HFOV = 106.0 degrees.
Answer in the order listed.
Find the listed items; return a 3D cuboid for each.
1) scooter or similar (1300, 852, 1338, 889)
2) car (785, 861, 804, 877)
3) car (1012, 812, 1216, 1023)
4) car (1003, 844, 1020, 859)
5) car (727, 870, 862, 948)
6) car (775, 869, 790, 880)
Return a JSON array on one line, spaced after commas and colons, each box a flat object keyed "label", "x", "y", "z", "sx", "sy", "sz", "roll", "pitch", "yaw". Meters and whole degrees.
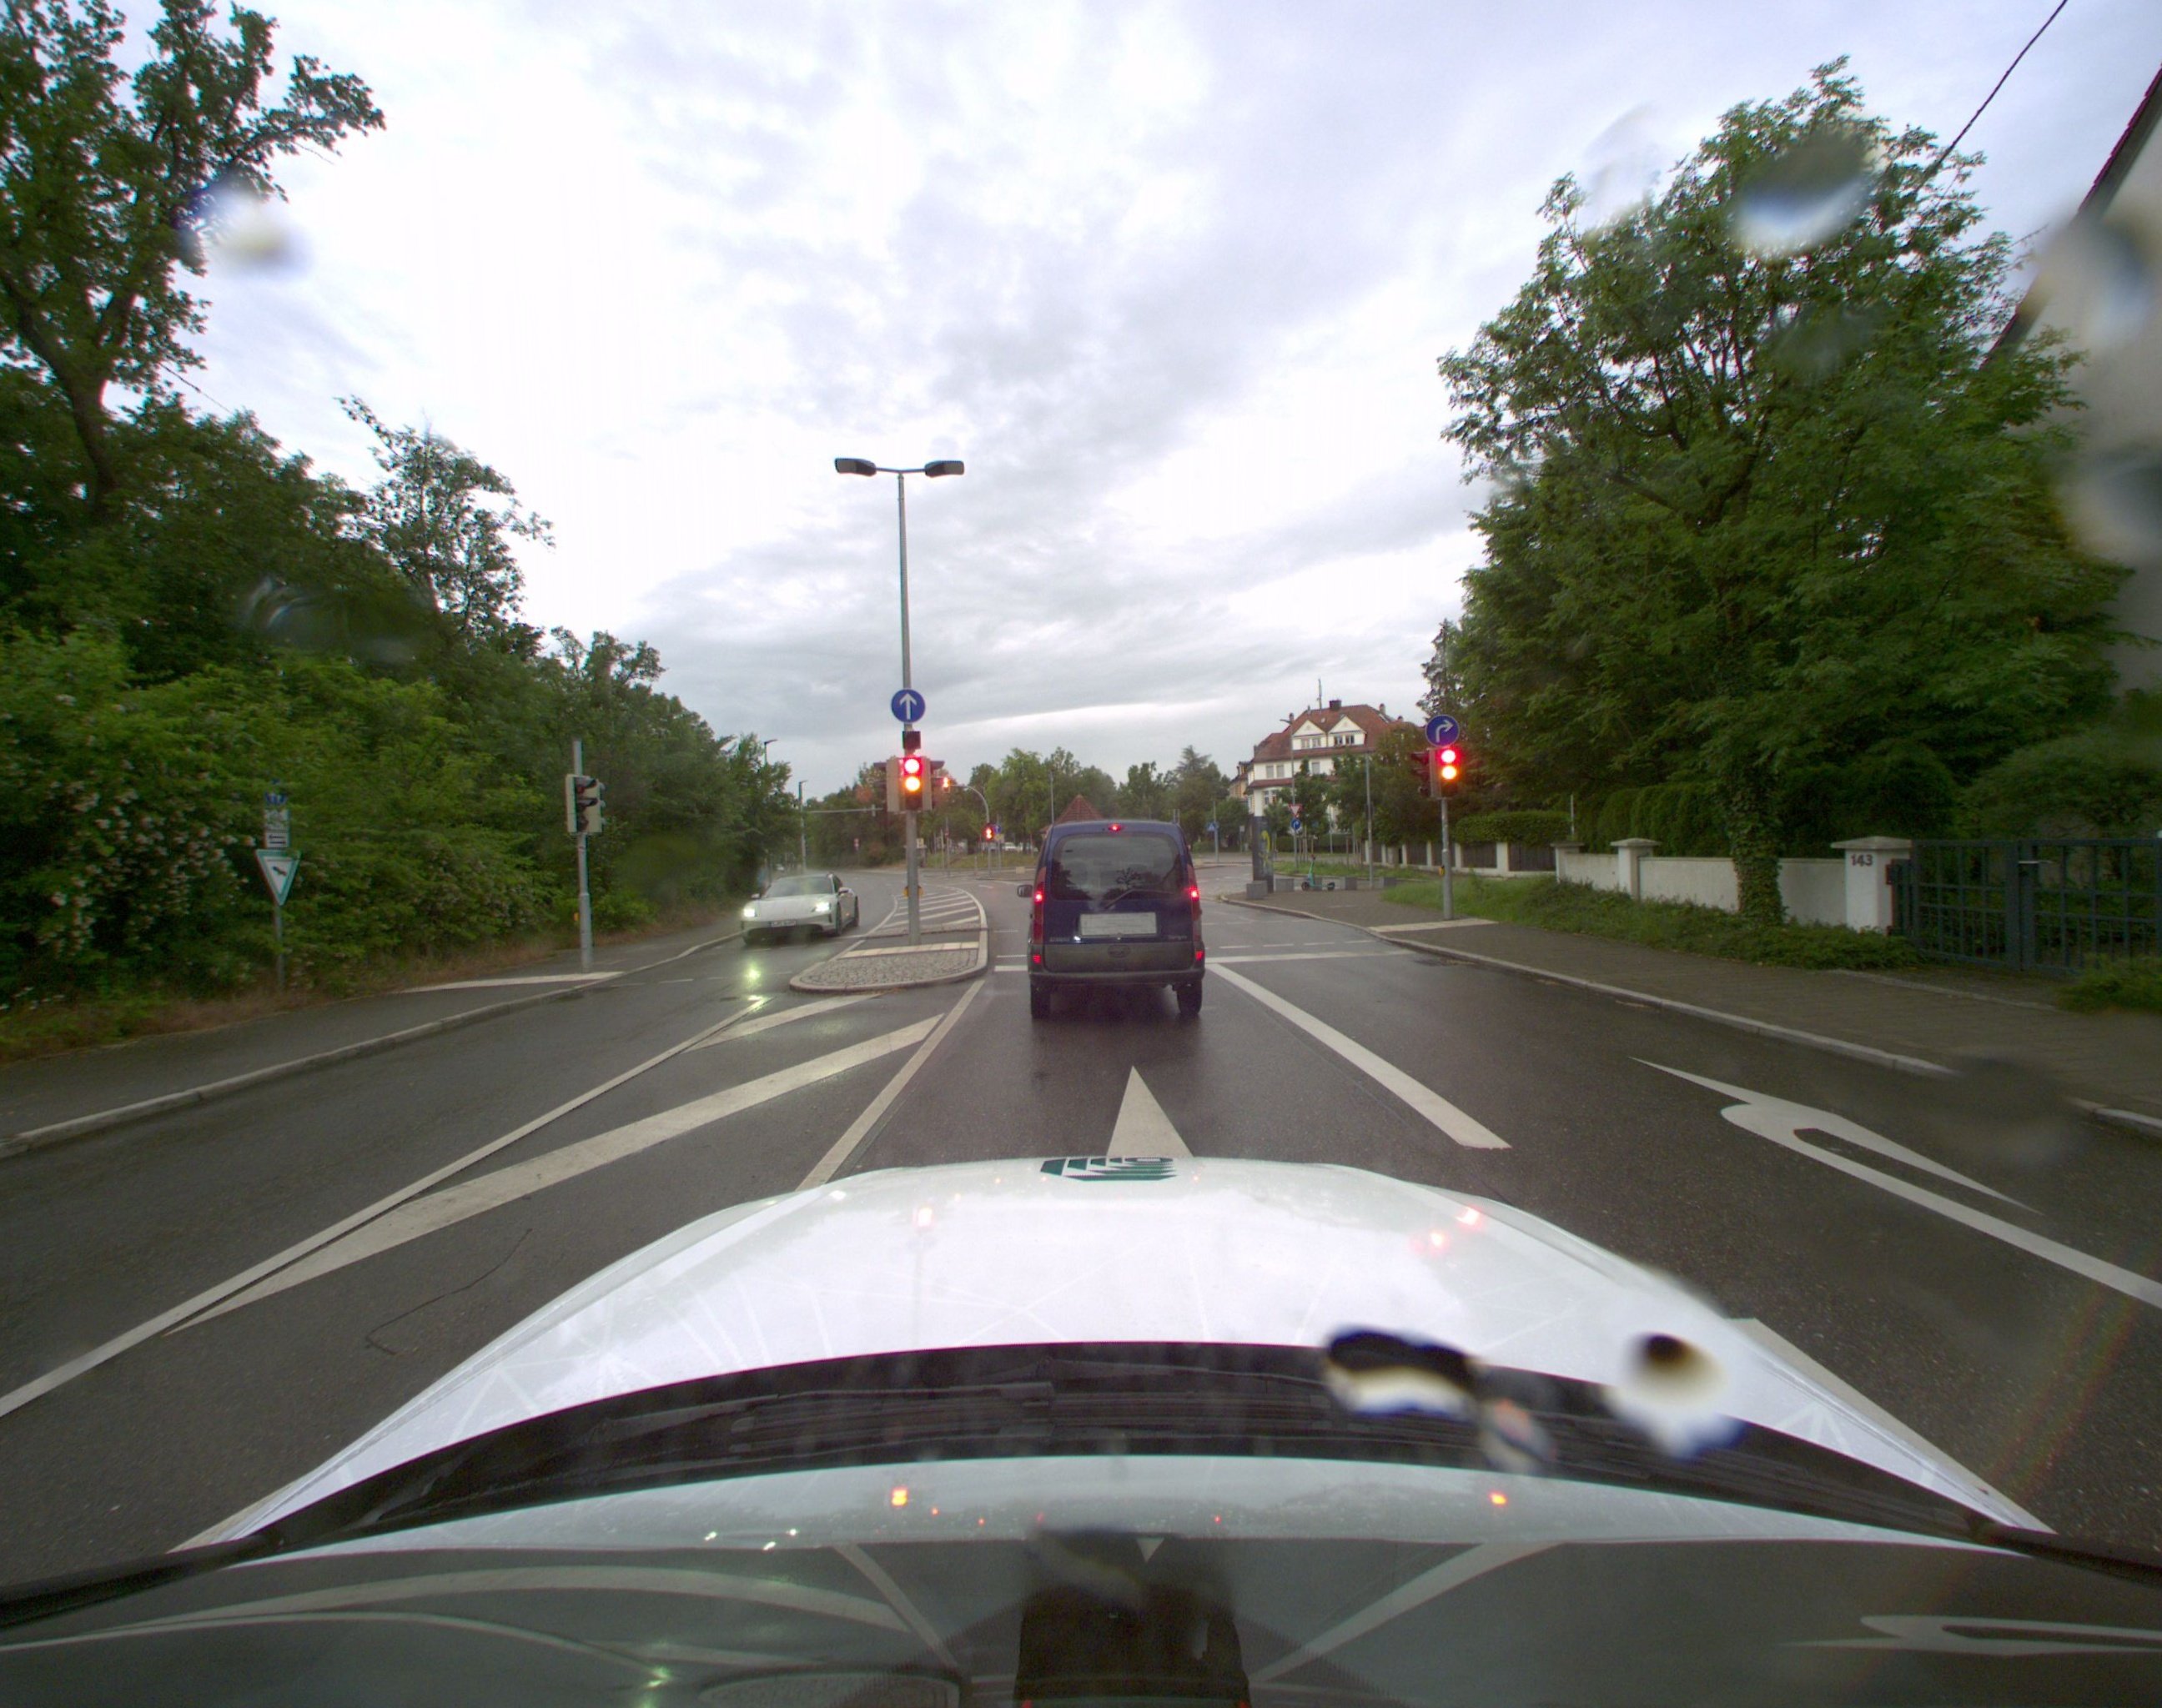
[{"label": "scooter or similar", "x": 8.087, "y": 0.562, "z": 27.708, "sx": 1.145, "sy": 1.219, "sz": 0.406, "roll": -2, "pitch": -1, "yaw": 1}, {"label": "car", "x": -36.709, "y": 1.937, "z": 104.186, "sx": 2.003, "sy": 2.014, "sz": 3.968, "roll": -1, "pitch": -1, "yaw": -24}, {"label": "car", "x": 0.291, "y": 0.538, "z": 9.024, "sx": 1.726, "sy": 1.786, "sz": 3.999, "roll": -1, "pitch": 0, "yaw": 0}, {"label": "car", "x": -9.411, "y": -0.305, "z": 110.301, "sx": 1.989, "sy": 1.812, "sz": 3.996, "roll": -1, "pitch": -1, "yaw": -2}, {"label": "car", "x": -6.343, "y": 1.151, "z": 18.577, "sx": 1.993, "sy": 1.311, "sz": 4.347, "roll": -5, "pitch": 1, "yaw": -8}, {"label": "car", "x": -45.659, "y": 3.111, "z": 124.585, "sx": 1.999, "sy": 1.585, "sz": 3.976, "roll": -1, "pitch": -1, "yaw": -18}]
